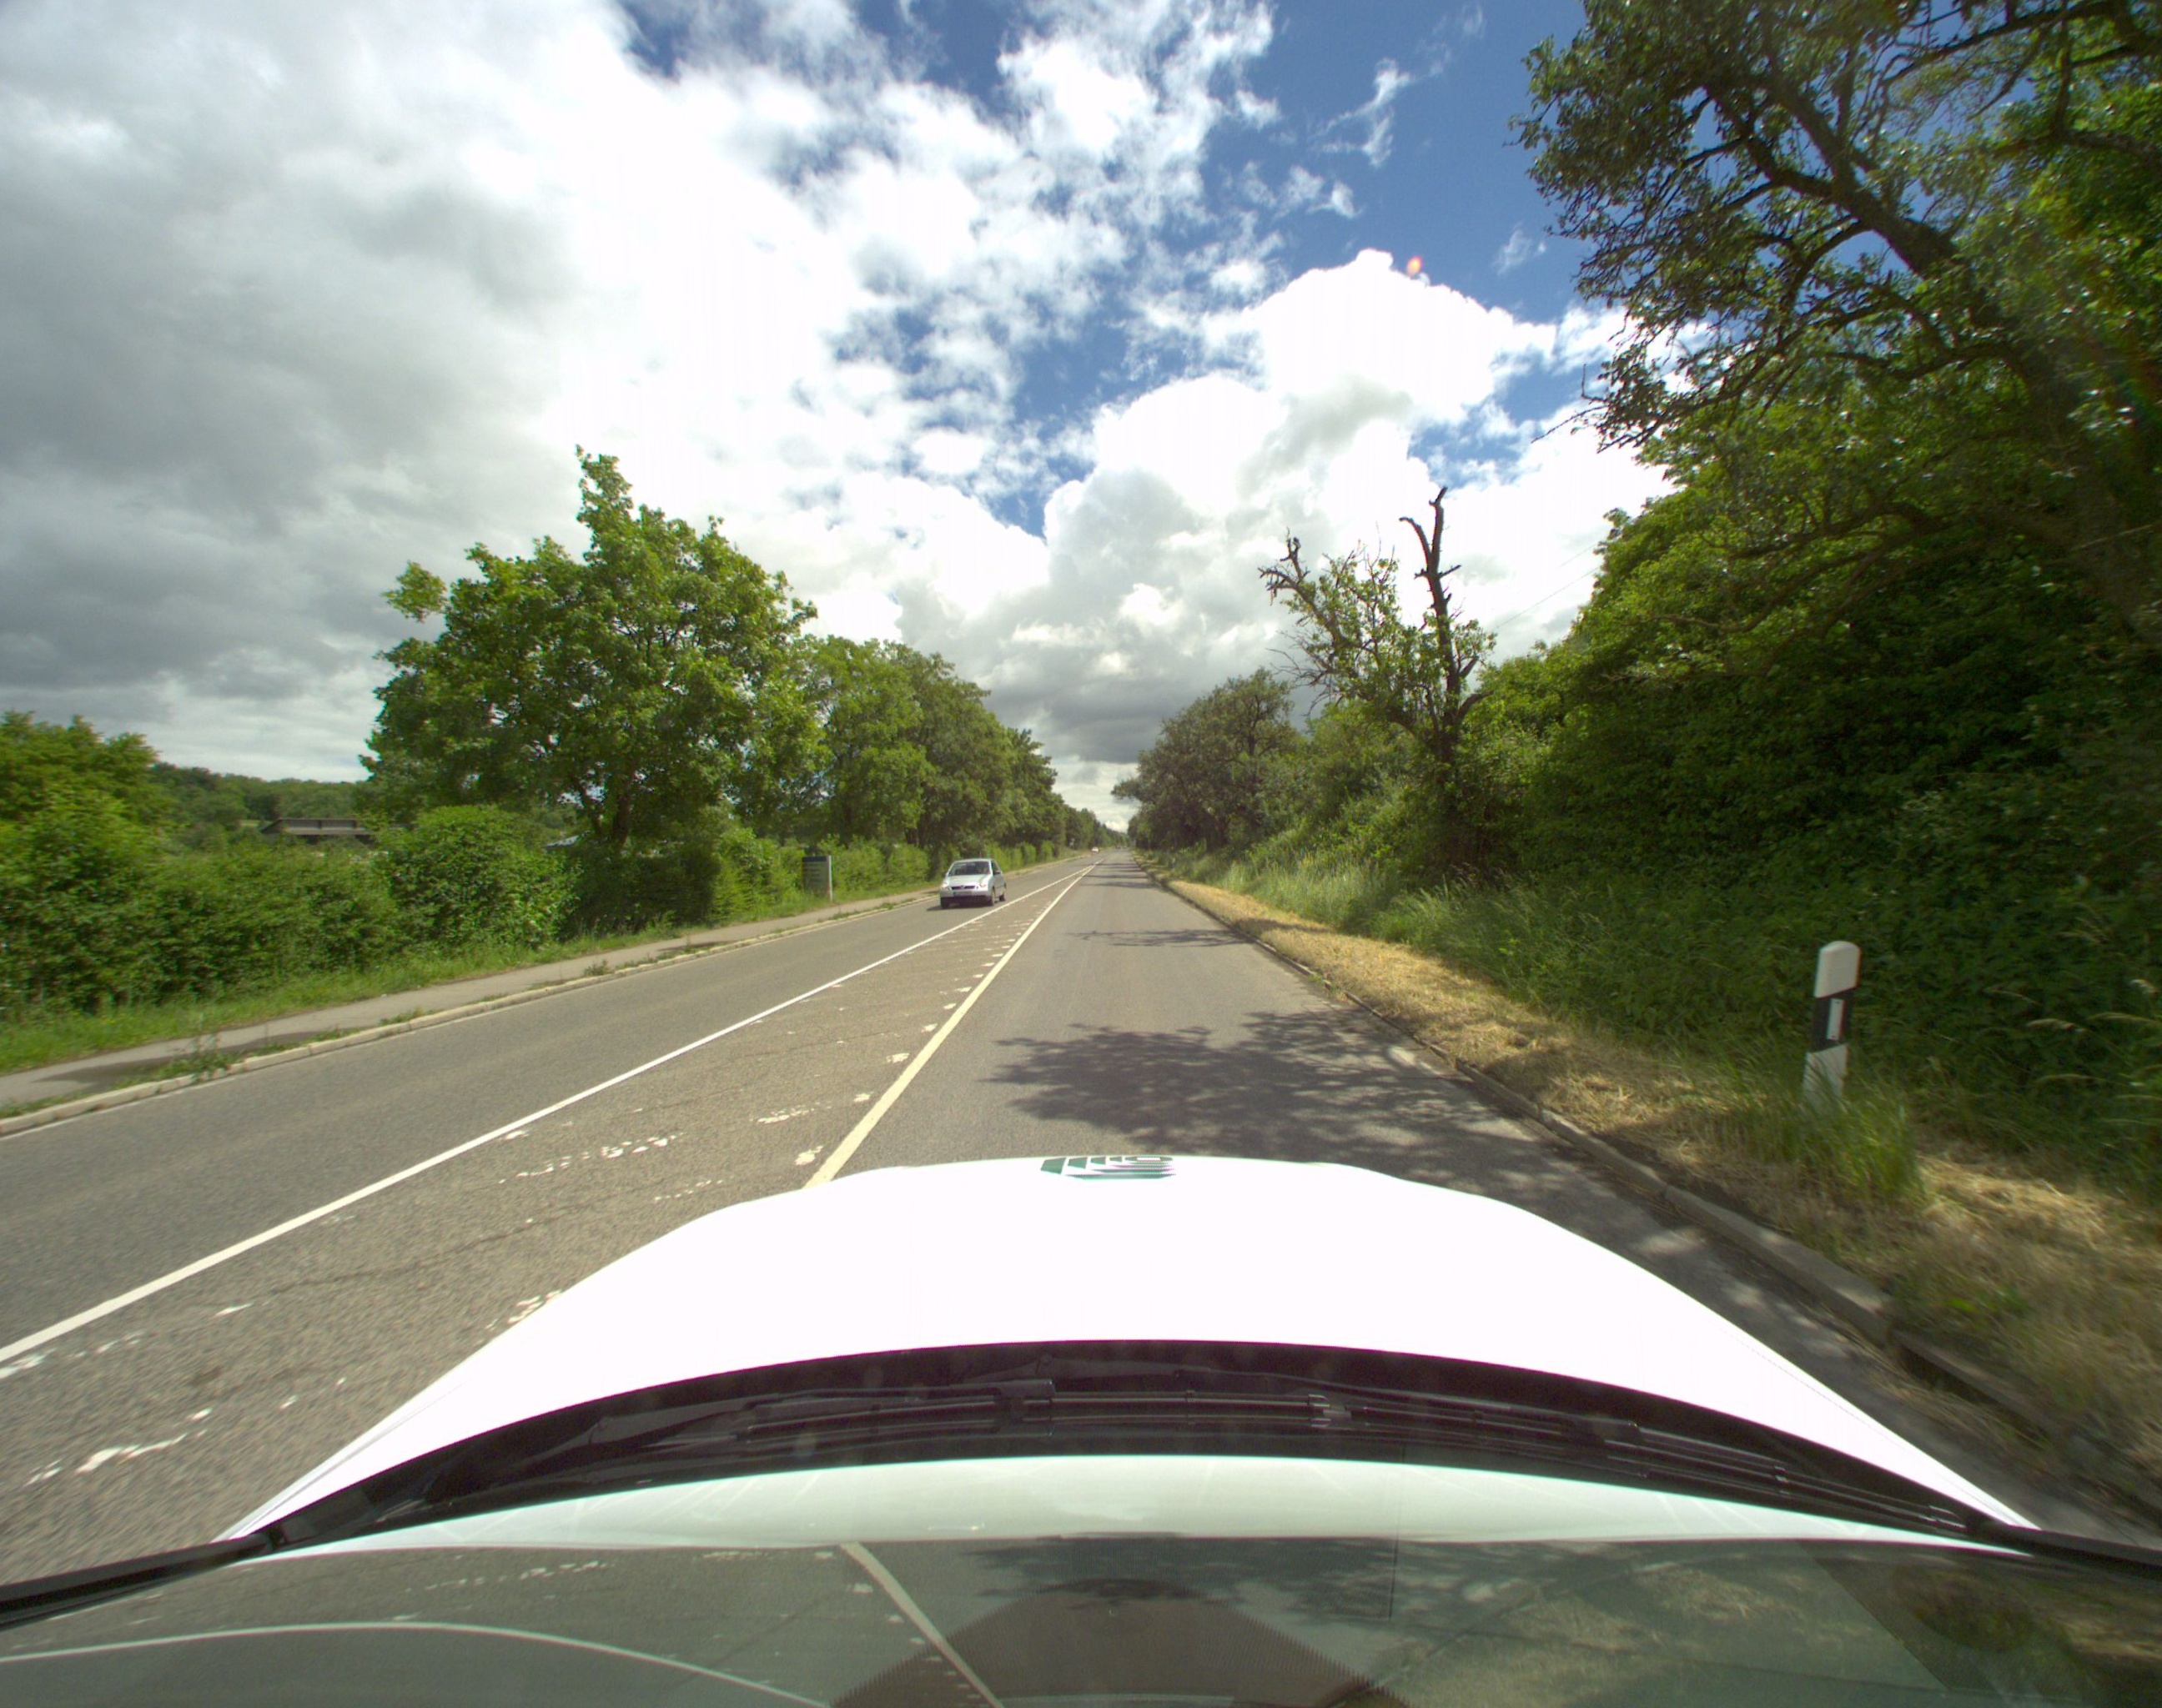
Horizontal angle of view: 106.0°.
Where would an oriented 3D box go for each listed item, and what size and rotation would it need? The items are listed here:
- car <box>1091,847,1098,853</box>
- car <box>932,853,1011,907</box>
[{"bbox_3d":[3.983,-1.134,234.554,1.790,1.543,3.958,-2,-1,3],"label":"car"},{"bbox_3d":[-3.327,0.738,25.376,1.653,1.432,3.697,-4,0,4],"label":"car"}]
